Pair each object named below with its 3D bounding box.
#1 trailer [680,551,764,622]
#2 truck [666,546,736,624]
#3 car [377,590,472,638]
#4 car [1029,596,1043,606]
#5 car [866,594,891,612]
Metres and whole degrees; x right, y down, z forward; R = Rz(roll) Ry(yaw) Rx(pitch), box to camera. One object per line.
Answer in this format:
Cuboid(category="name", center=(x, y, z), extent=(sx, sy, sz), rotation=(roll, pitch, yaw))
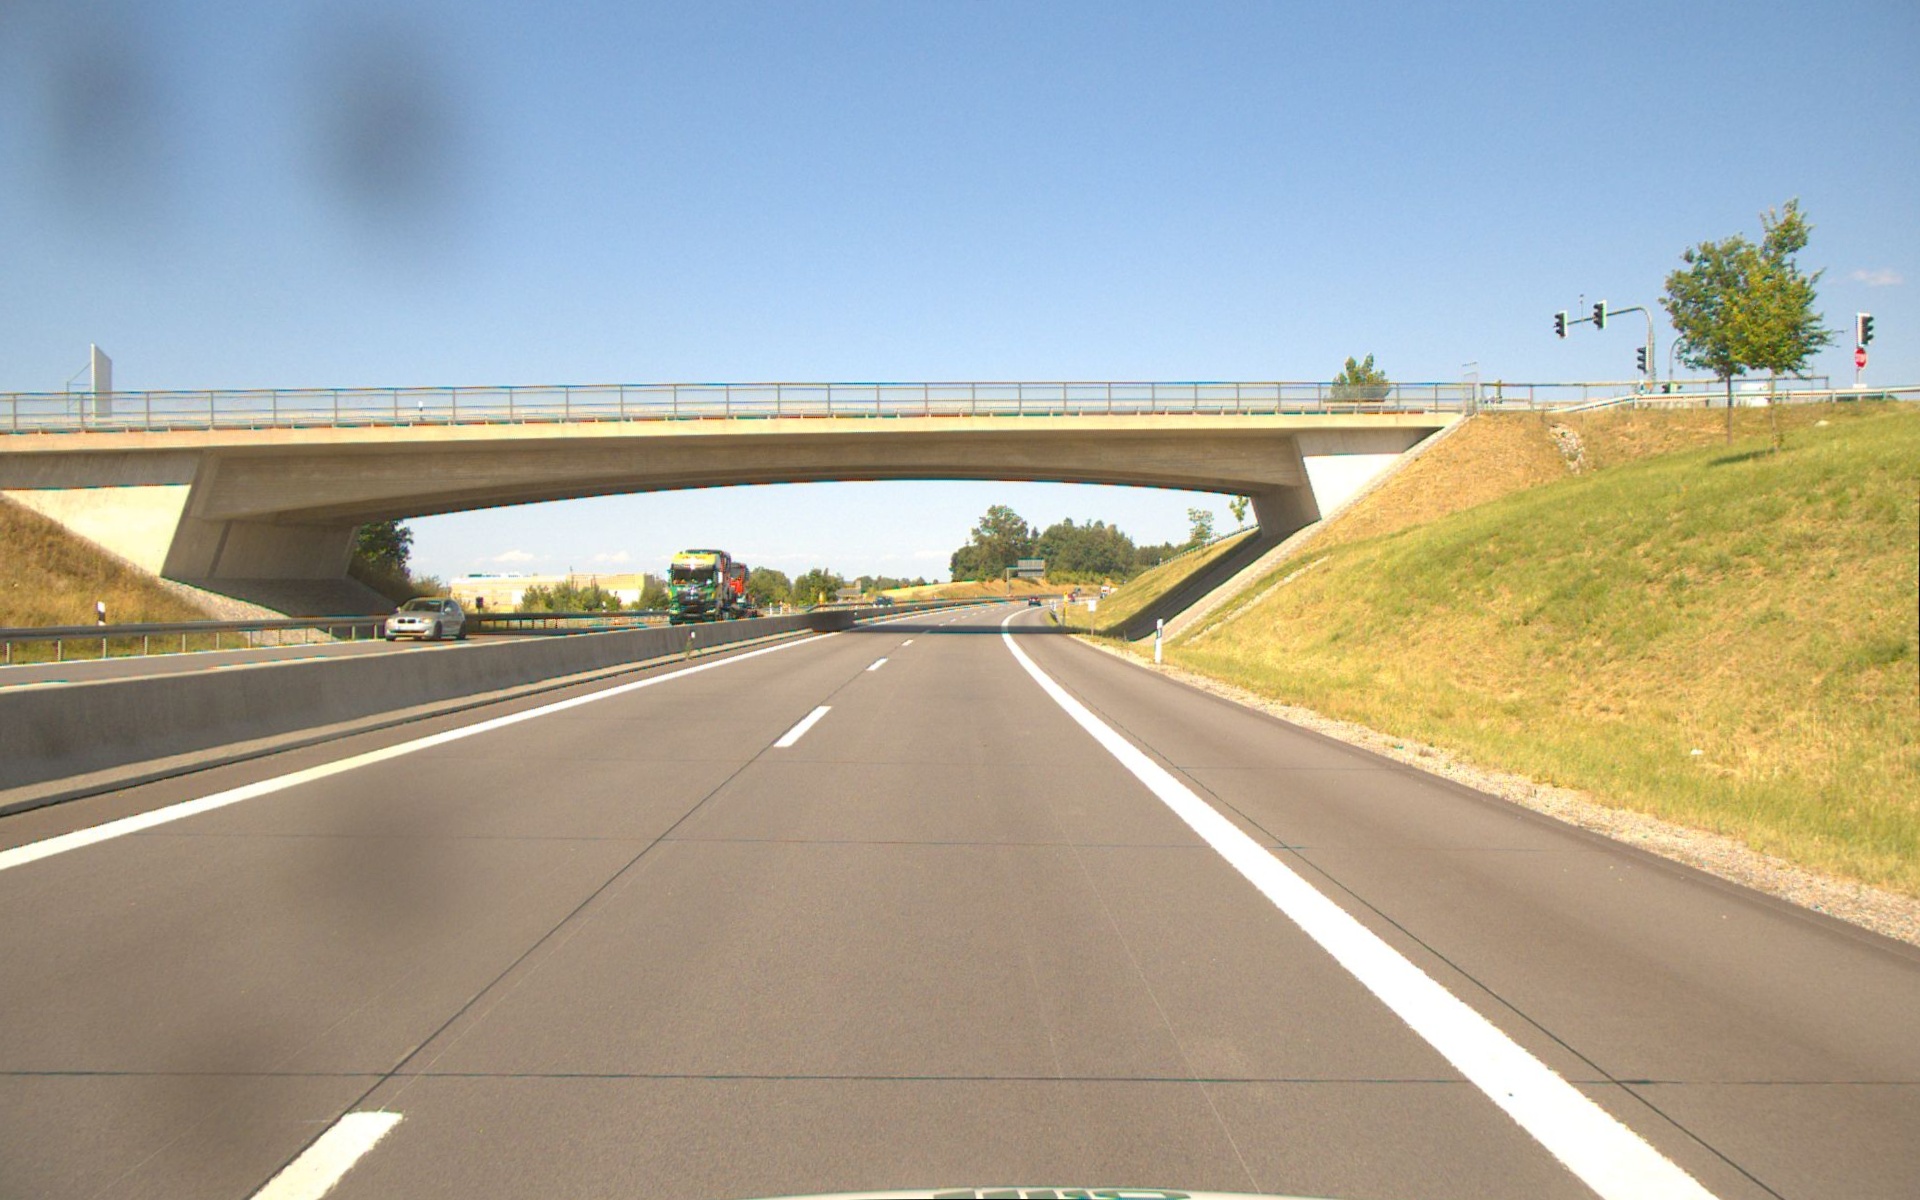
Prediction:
Cuboid(category="trailer", center=(-13.277, -0.725, 93.468), extent=(2.610, 3.721, 13.238), rotation=(0, 0, 1))
Cuboid(category="truck", center=(-13.420, -0.767, 86.184), extent=(2.679, 3.899, 5.831), rotation=(0, 0, 1))
Cuboid(category="car", center=(-18.068, 0.452, 56.021), extent=(1.824, 1.557, 4.567), rotation=(0, 0, -2))
Cuboid(category="car", center=(11.326, 0.112, 247.140), extent=(1.952, 1.445, 4.002), rotation=(-2, 0, 3))
Cuboid(category="car", center=(-7.527, 0.271, 153.058), extent=(2.026, 1.602, 4.928), rotation=(0, 0, 1))
